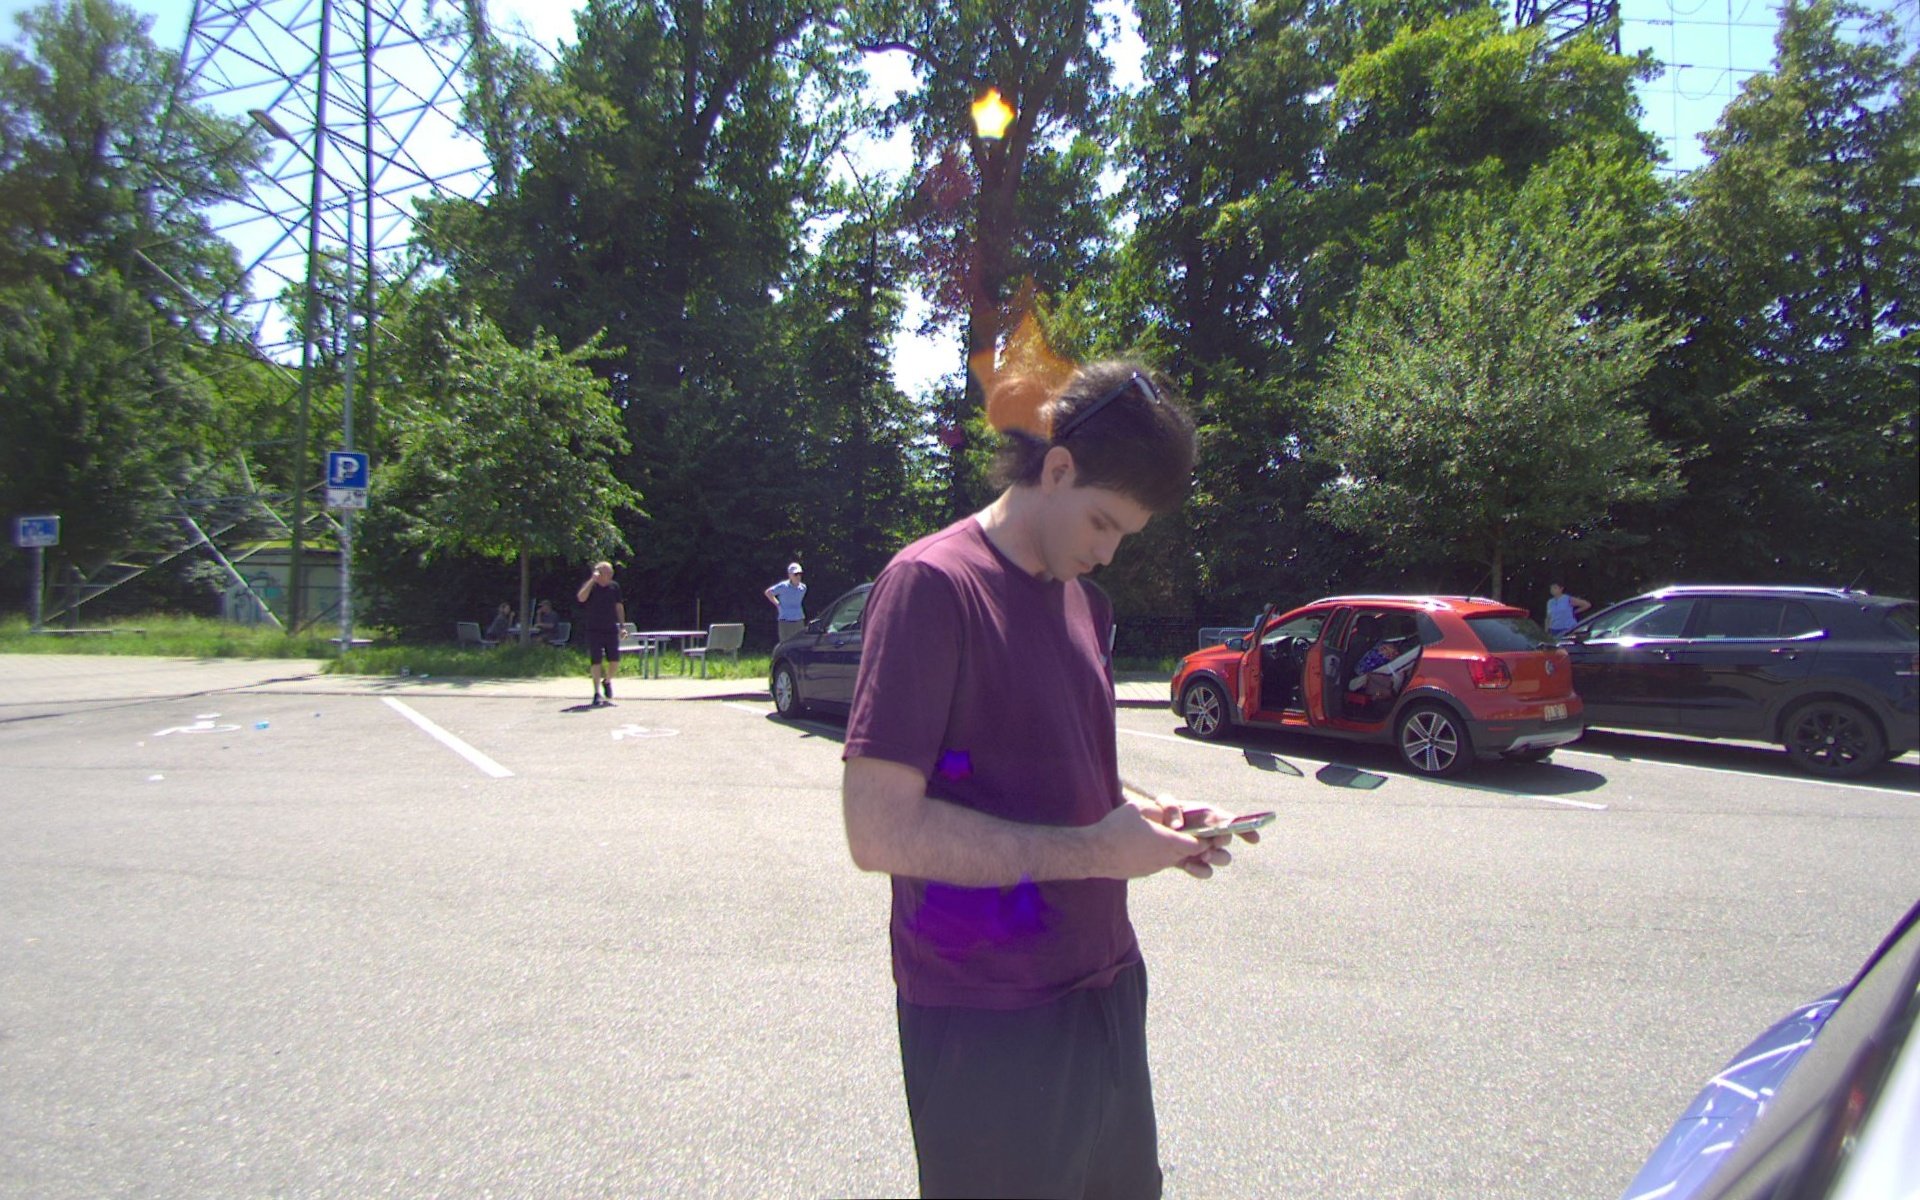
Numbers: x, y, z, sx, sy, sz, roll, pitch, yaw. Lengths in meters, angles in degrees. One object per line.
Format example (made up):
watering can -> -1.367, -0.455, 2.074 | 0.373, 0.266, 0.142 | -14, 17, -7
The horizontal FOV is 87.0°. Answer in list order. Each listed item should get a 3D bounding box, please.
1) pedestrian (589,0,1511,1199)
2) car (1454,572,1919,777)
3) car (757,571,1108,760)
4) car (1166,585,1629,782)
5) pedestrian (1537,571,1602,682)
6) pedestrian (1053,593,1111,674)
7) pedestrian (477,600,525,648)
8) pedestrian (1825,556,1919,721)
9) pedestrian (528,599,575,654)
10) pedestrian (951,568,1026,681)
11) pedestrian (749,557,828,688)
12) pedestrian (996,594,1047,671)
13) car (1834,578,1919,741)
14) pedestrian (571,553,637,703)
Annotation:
pedestrian -> 0.138, 0.460, 1.353 | 0.828, 1.797, 0.926 | 0, -1, 45
car -> 7.207, 0.581, 9.826 | 1.807, 1.612, 3.967 | 1, 0, -38
car -> -0.484, 0.549, 10.688 | 1.809, 1.588, 4.017 | 1, 0, -35
car -> 3.926, 0.626, 9.639 | 1.746, 1.475, 3.710 | 1, 0, -33
pedestrian -> 9.182, 0.386, 15.238 | 0.712, 1.614, 0.797 | 0, -1, 42
pedestrian -> 2.027, 0.548, 16.881 | 0.656, 1.311, 0.832 | 1, -1, -17
pedestrian -> -10.364, 0.539, 22.858 | 0.796, 1.062, 0.714 | 1, -1, -43
pedestrian -> 10.854, 0.443, 12.003 | 0.672, 1.889, 0.710 | 0, -1, 19
pedestrian -> -9.559, 0.604, 23.664 | 0.796, 1.253, 0.713 | 1, -1, -44
pedestrian -> 0.419, 0.351, 14.975 | 0.794, 1.614, 0.776 | 1, -1, -33
pedestrian -> -2.430, 0.305, 14.313 | 0.786, 1.784, 0.809 | 1, -1, -39
pedestrian -> 1.042, 0.544, 17.174 | 0.656, 1.285, 0.655 | 1, -1, -17
car -> 10.929, 0.605, 9.374 | 1.745, 1.612, 3.972 | 1, 0, -32
pedestrian -> -4.603, 0.346, 13.053 | 0.700, 1.851, 0.906 | 1, -1, -24
